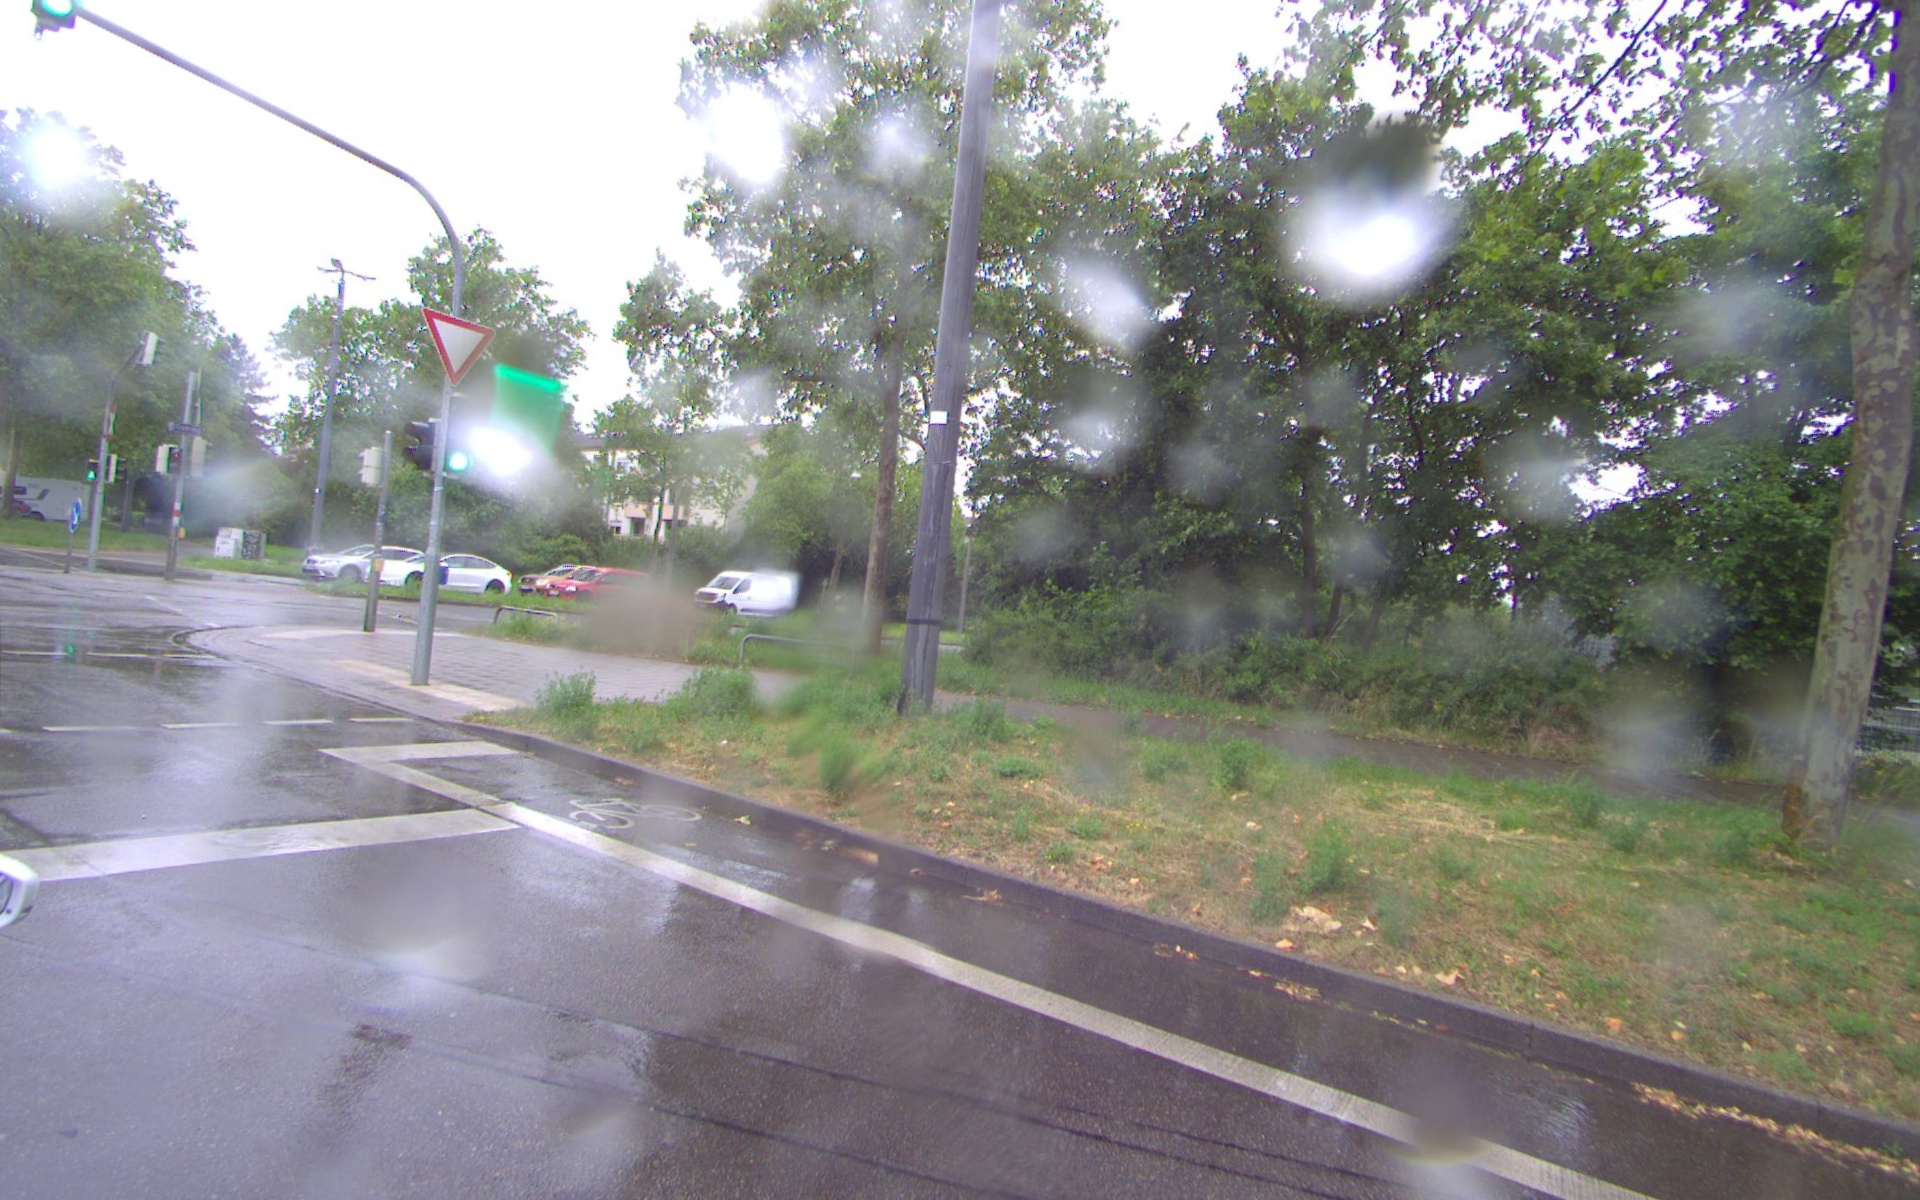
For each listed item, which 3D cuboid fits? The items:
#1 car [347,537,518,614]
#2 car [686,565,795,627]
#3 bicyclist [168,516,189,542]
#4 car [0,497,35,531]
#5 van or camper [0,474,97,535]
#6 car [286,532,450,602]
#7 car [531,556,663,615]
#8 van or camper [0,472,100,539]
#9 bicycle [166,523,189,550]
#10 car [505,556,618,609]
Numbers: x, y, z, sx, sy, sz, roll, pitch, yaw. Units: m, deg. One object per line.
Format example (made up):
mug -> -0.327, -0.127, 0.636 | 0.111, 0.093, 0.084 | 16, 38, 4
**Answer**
car -> -17.149, -0.744, 32.979 | 1.900, 1.849, 4.608 | 7, -2, 26
car -> -11.062, -0.149, 51.166 | 1.966, 2.419, 5.619 | 6, -2, 29
bicyclist -> -47.081, -4.278, 60.609 | 0.857, 1.441, 0.947 | 8, -1, -36
car -> -55.786, -5.139, 57.153 | 4.424, 1.736, 1.980 | 9, -2, -37
van or camper -> -63.220, -6.616, 67.627 | 7.388, 3.215, 3.231 | 9, -2, -36
car -> -20.107, -1.059, 34.386 | 1.900, 1.710, 4.407 | 7, -2, 26
car -> -13.832, -0.510, 38.625 | 1.760, 1.625, 4.615 | 6, -2, 29
van or camper -> -56.901, -5.903, 60.698 | 7.296, 3.215, 3.226 | 9, -2, -40
bicycle -> -46.988, -3.816, 60.400 | 0.857, 1.441, 2.677 | 8, -2, -36
car -> -16.358, -0.689, 41.483 | 1.759, 1.625, 4.069 | 7, -2, 26
